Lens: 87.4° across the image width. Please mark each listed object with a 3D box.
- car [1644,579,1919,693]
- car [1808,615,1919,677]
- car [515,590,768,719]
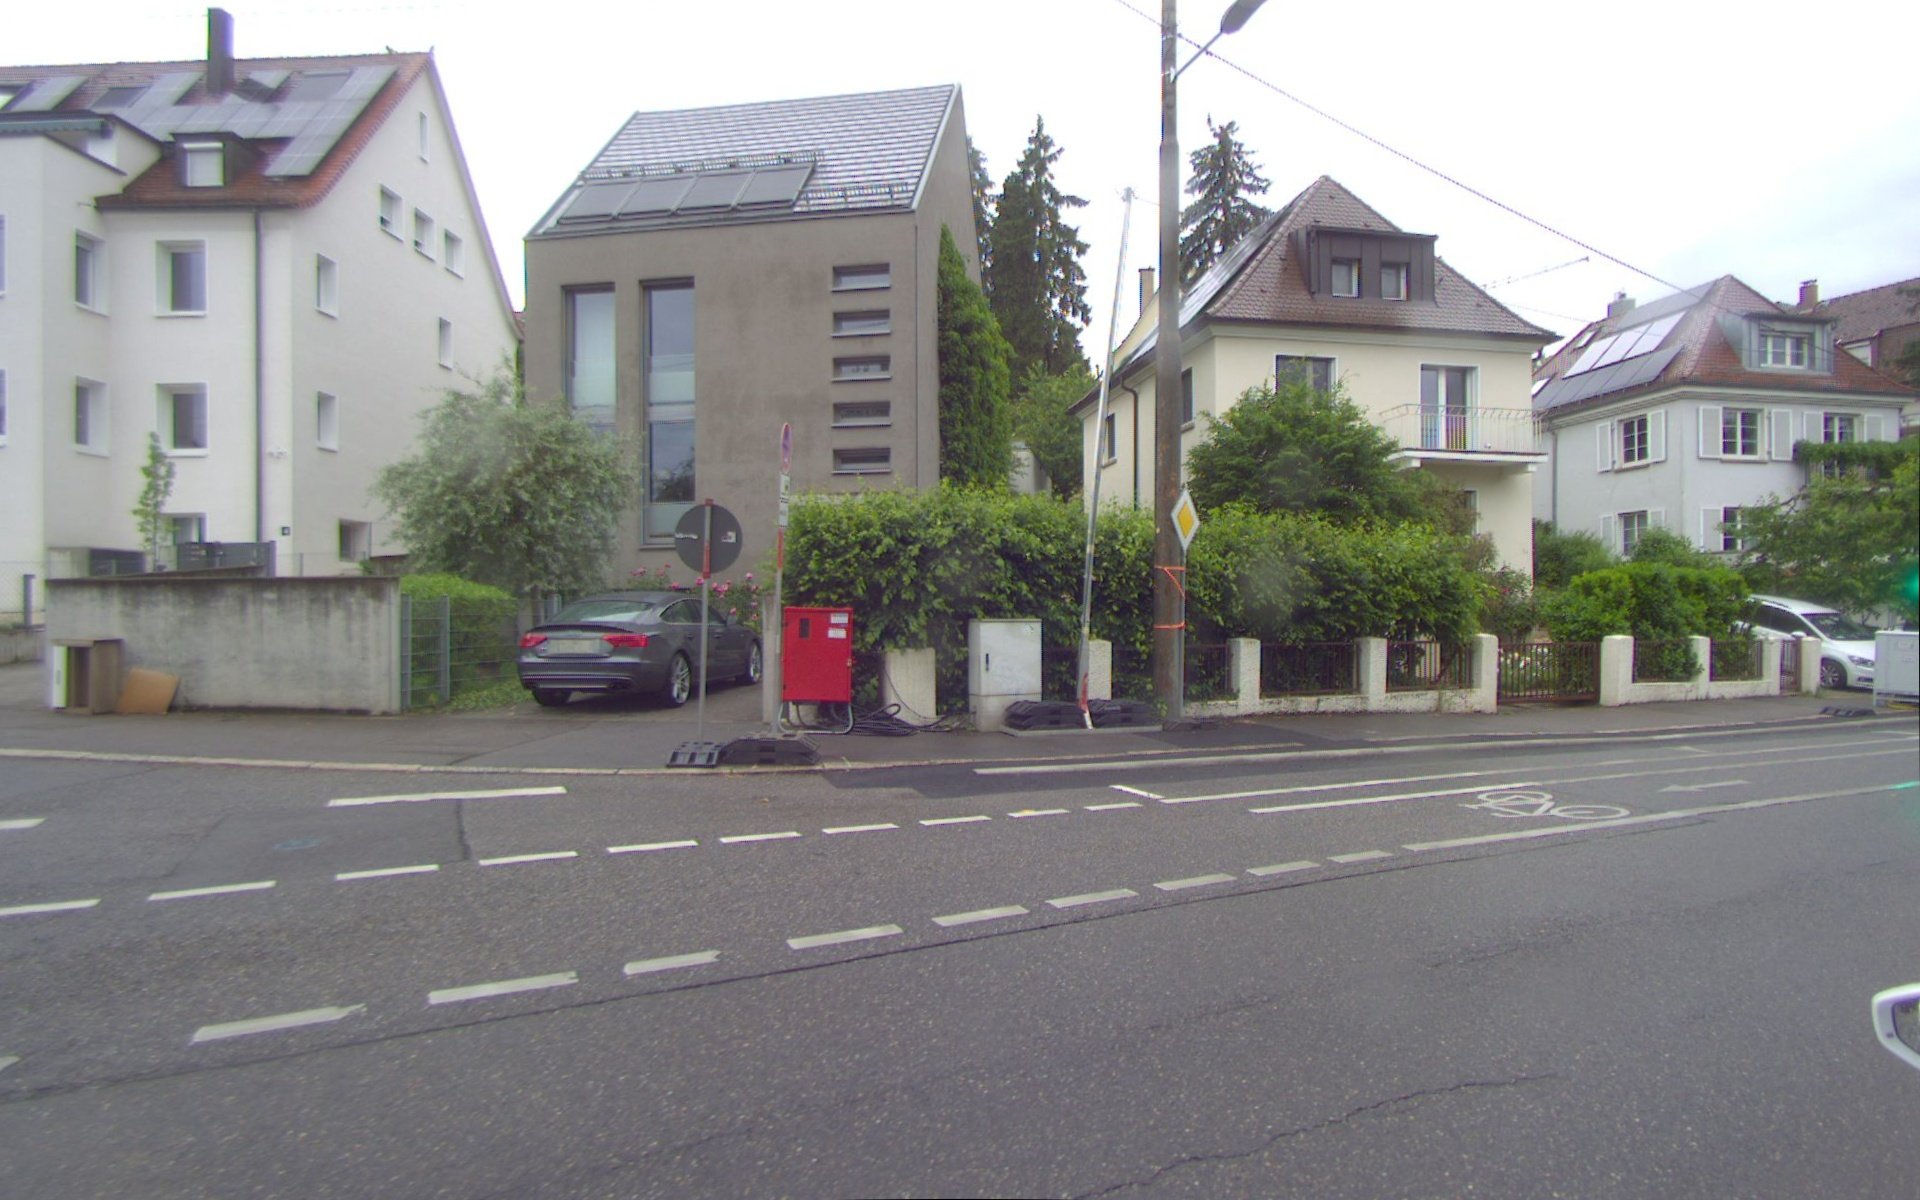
[{"bbox_3d":[19.099,0.712,23.512,1.833,1.639,4.960,0,10,-15],"label":"car"},{"bbox_3d":[25.387,1.224,26.681,1.909,1.546,3.986,2,0,-16],"label":"car"},{"bbox_3d":[-4.003,0.585,13.425,1.581,1.387,4.265,0,1,7],"label":"car"}]
